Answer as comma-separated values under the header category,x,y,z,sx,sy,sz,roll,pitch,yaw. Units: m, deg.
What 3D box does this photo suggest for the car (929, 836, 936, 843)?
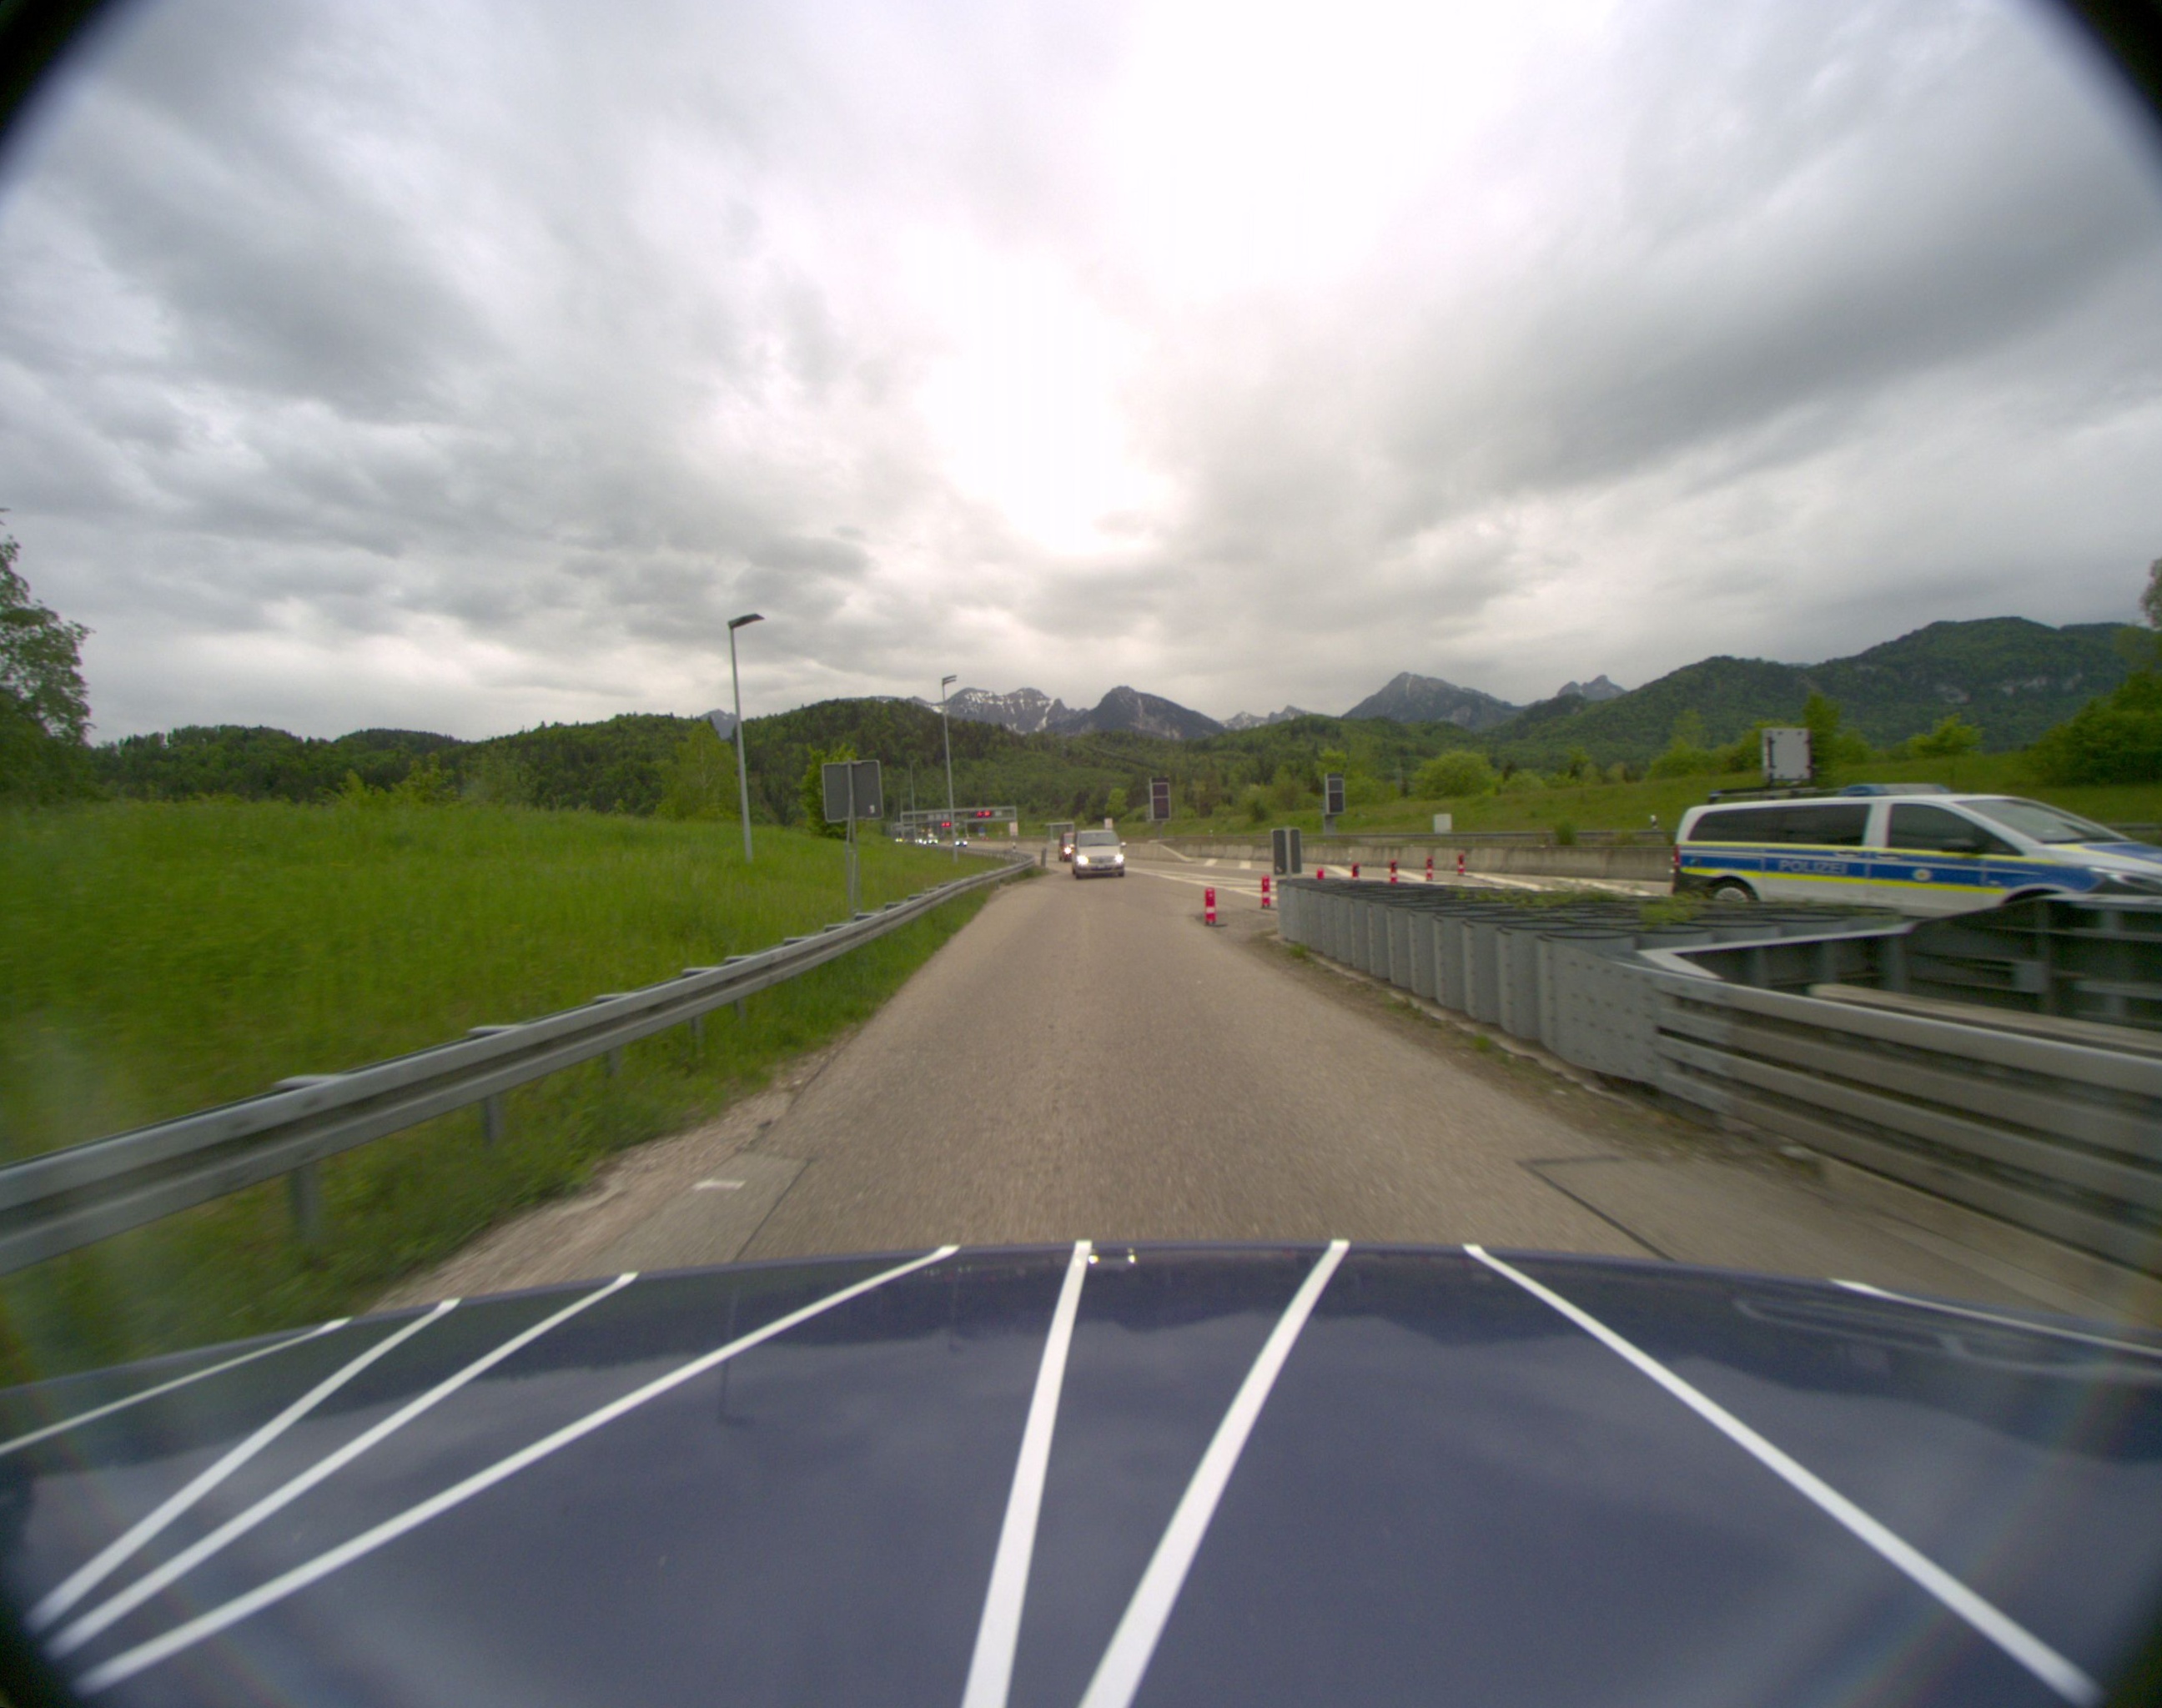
category,x,y,z,sx,sy,sz,roll,pitch,yaw
car,-40.278,-3.977,205.986,1.632,1.688,3.492,-2,2,-10

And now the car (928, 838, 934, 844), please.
category,x,y,z,sx,sy,sz,roll,pitch,yaw
car,-45.754,-4.027,232.244,1.632,1.688,3.492,-2,2,-10

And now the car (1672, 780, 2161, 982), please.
category,x,y,z,sx,sy,sz,roll,pitch,yaw
car,11.245,0.160,10.091,2.294,2.002,5.042,-2,2,-13

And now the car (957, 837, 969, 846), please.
category,x,y,z,sx,sy,sz,roll,pitch,yaw
car,-20.364,-2.162,131.165,1.665,1.329,3.786,-2,2,-14

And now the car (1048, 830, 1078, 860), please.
category,x,y,z,sx,sy,sz,roll,pitch,yaw
car,-1.109,-0.592,48.502,1.756,1.795,3.999,-2,1,1

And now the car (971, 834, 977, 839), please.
category,x,y,z,sx,sy,sz,roll,pitch,yaw
car,-35.830,-5.983,254.279,1.915,1.688,3.492,-2,2,-10

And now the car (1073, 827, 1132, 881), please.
category,x,y,z,sx,sy,sz,roll,pitch,yaw
car,0.762,-0.075,30.140,1.923,1.871,5.136,-3,2,-2
